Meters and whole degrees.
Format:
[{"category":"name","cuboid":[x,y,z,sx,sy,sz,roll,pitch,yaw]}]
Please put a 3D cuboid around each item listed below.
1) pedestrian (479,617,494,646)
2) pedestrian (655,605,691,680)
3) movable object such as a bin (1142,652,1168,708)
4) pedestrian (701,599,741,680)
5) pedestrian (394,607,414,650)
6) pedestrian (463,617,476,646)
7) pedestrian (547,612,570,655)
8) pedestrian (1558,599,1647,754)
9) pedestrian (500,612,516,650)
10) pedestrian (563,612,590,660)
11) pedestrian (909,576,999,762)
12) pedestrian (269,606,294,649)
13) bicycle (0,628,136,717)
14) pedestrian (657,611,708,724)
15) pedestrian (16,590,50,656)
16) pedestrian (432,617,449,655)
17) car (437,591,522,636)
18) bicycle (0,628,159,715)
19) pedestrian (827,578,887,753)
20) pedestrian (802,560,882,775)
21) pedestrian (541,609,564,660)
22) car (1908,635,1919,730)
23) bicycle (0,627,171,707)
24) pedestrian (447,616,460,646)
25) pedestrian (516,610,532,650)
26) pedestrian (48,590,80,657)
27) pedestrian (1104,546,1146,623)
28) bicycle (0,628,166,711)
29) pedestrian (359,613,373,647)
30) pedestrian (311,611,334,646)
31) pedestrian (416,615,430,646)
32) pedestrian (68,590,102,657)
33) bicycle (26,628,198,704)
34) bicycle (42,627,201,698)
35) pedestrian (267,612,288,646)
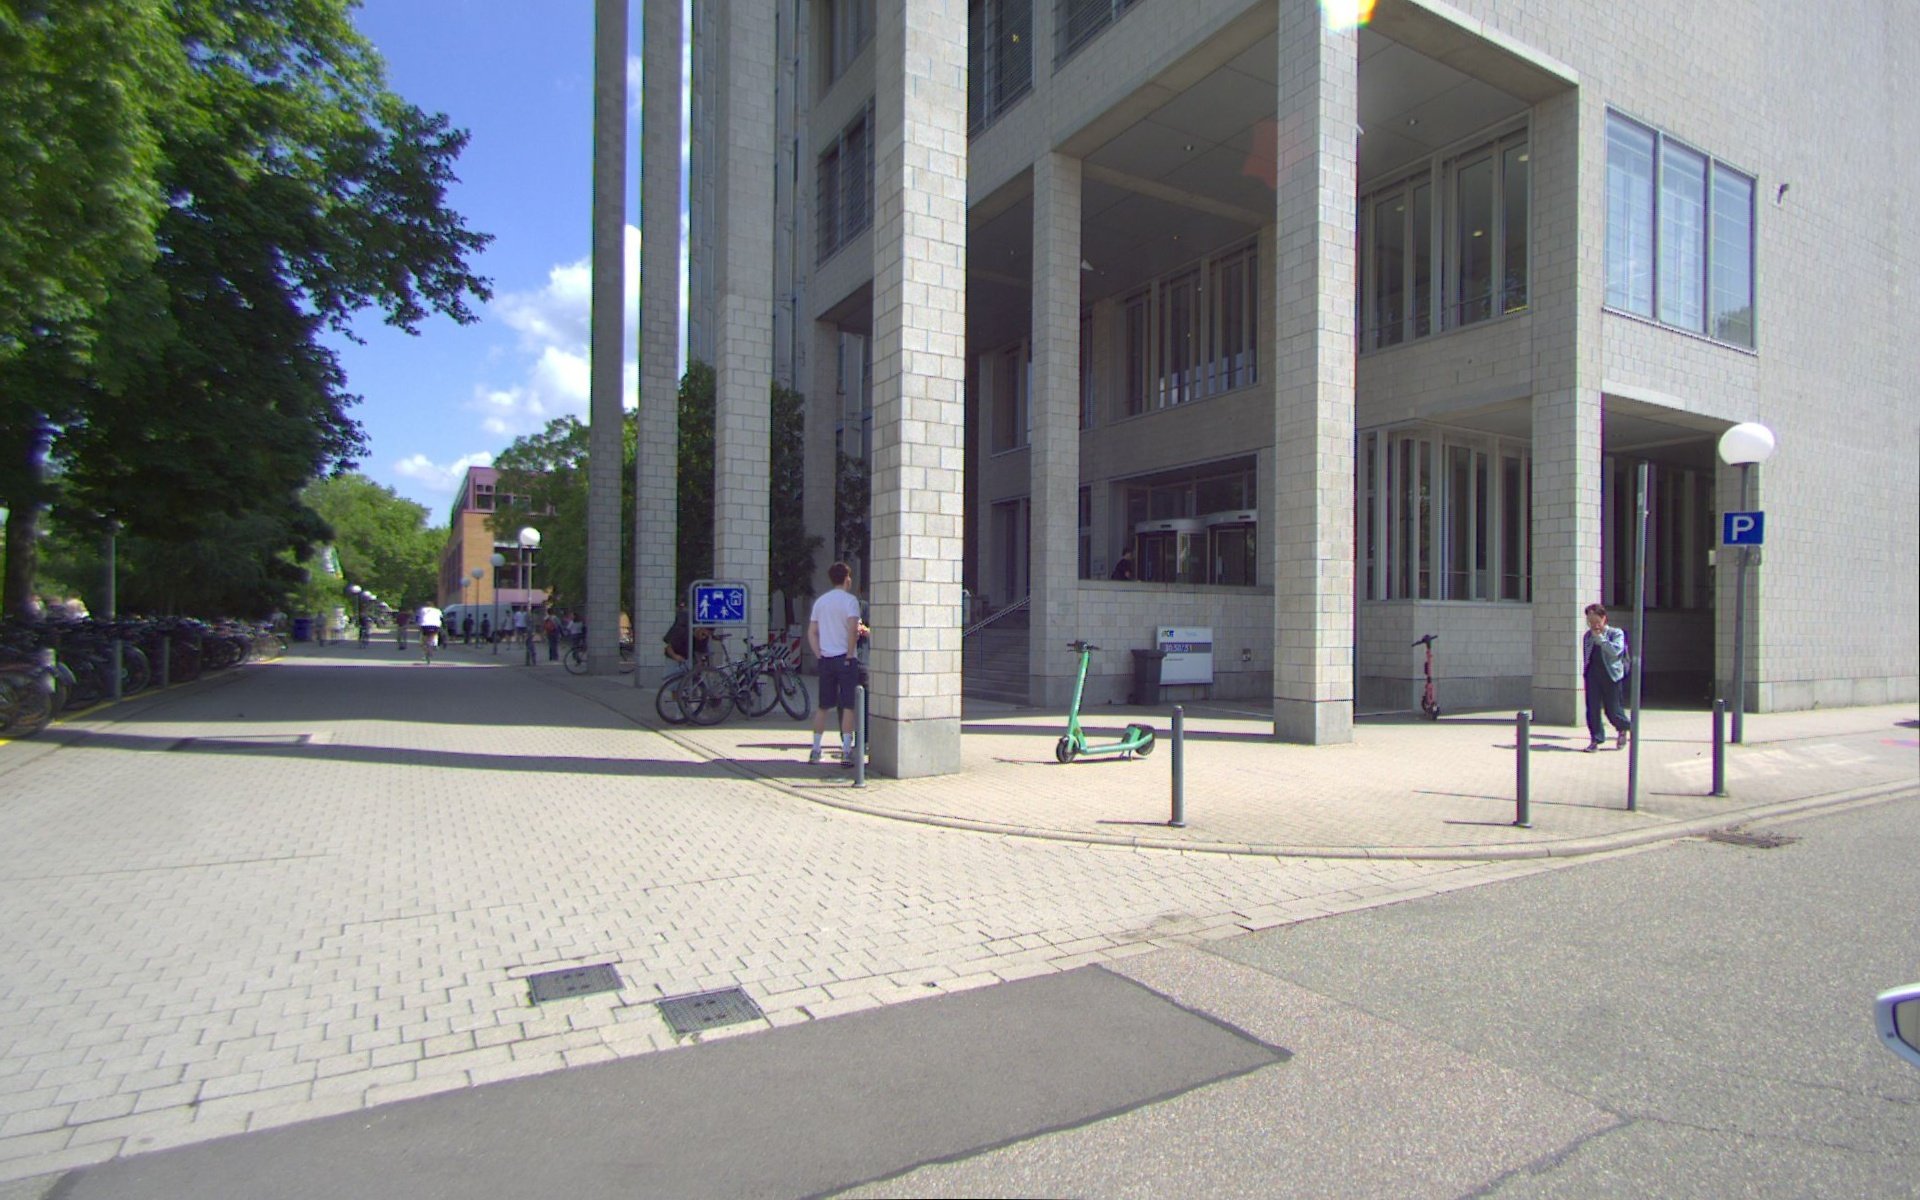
[{"category":"pedestrian","cuboid":[-26.895,1.797,57.070,0.627,1.627,0.595,1,-1,-40]},{"category":"pedestrian","cuboid":[-6.376,0.937,22.303,0.590,1.614,0.824,1,-1,-27]},{"category":"movable object such as a bin","cuboid":[3.261,1.332,16.777,0.444,0.906,0.167,1,-1,-35]},{"category":"pedestrian","cuboid":[-5.475,0.890,22.976,0.728,1.814,0.622,1,-1,-28]},{"category":"pedestrian","cuboid":[-25.724,1.317,46.444,0.748,1.979,0.636,1,-1,-27]},{"category":"pedestrian","cuboid":[-27.259,1.742,55.804,0.595,1.627,0.627,1,-1,-30]},{"category":"pedestrian","cuboid":[-14.996,1.246,37.499,0.711,1.561,0.699,1,-1,-30]},{"category":"pedestrian","cuboid":[7.506,0.868,11.728,0.882,1.724,0.644,1,-1,-40]},{"category":"pedestrian","cuboid":[-21.294,1.460,47.353,0.632,1.733,0.658,1,-1,-27]},{"category":"pedestrian","cuboid":[-13.117,1.234,34.350,0.776,1.625,0.597,1,-1,-27]},{"category":"pedestrian","cuboid":[-0.055,0.679,10.217,0.625,1.799,0.736,0,-1,28]},{"category":"pedestrian","cuboid":[-27.972,1.128,41.414,0.591,1.717,0.632,1,-1,-3]},{"category":"bicycle","cuboid":[-11.938,0.920,12.941,1.949,1.101,0.549,1,0,-30]},{"category":"pedestrian","cuboid":[-3.581,0.861,12.965,0.440,1.401,0.462,-3,0,-39]},{"category":"pedestrian","cuboid":[-29.115,0.730,31.555,0.565,2.040,0.532,1,0,-15]},{"category":"pedestrian","cuboid":[-25.980,1.802,50.259,0.690,1.865,0.570,1,-1,-27]},{"category":"car","cuboid":[-30.551,0.883,63.895,4.582,2.813,1.981,1,-1,-35]},{"category":"bicycle","cuboid":[-12.081,0.942,13.523,1.949,1.101,0.549,1,0,-30]},{"category":"pedestrian","cuboid":[-1.087,0.679,10.624,0.434,1.799,0.450,0,-1,30]},{"category":"pedestrian","cuboid":[-1.122,0.623,9.613,0.406,1.967,0.661,1,0,31]},{"category":"pedestrian","cuboid":[-13.591,1.152,33.462,0.632,1.671,0.597,1,-1,-27]},{"category":"car","cuboid":[16.775,1.304,15.612,4.182,1.446,1.759,2,-1,-28]},{"category":"bicycle","cuboid":[-12.923,0.972,14.815,1.949,1.101,0.549,1,0,-30]},{"category":"pedestrian","cuboid":[-27.919,1.700,55.396,0.595,1.627,0.627,1,-1,-30]},{"category":"pedestrian","cuboid":[-20.686,1.428,47.656,0.632,1.871,0.658,1,-1,-27]},{"category":"pedestrian","cuboid":[-27.330,0.714,30.633,0.511,2.040,0.532,1,0,-15]},{"category":"pedestrian","cuboid":[3.681,-0.344,22.437,0.684,1.683,0.632,1,-1,-22]},{"category":"bicycle","cuboid":[-12.396,0.955,14.045,1.949,1.101,0.549,1,0,-30]},{"category":"pedestrian","cuboid":[-28.190,1.418,47.645,0.489,1.627,0.585,1,-1,-24]},{"category":"pedestrian","cuboid":[-30.407,1.370,47.917,0.770,1.637,0.722,3,-2,-27]},{"category":"pedestrian","cuboid":[-29.826,1.679,55.807,0.516,1.689,0.600,1,-1,-13]},{"category":"pedestrian","cuboid":[-26.750,0.713,30.718,0.583,2.040,0.532,1,0,-15]},{"category":"bicycle","cuboid":[-13.110,1.002,15.609,1.949,1.101,0.549,1,0,-30]},{"category":"bicycle","cuboid":[-13.898,1.026,16.717,1.949,1.101,0.549,1,0,-30]},{"category":"pedestrian","cuboid":[-32.616,1.407,47.992,0.751,1.617,0.392,1,-1,-30]}]
